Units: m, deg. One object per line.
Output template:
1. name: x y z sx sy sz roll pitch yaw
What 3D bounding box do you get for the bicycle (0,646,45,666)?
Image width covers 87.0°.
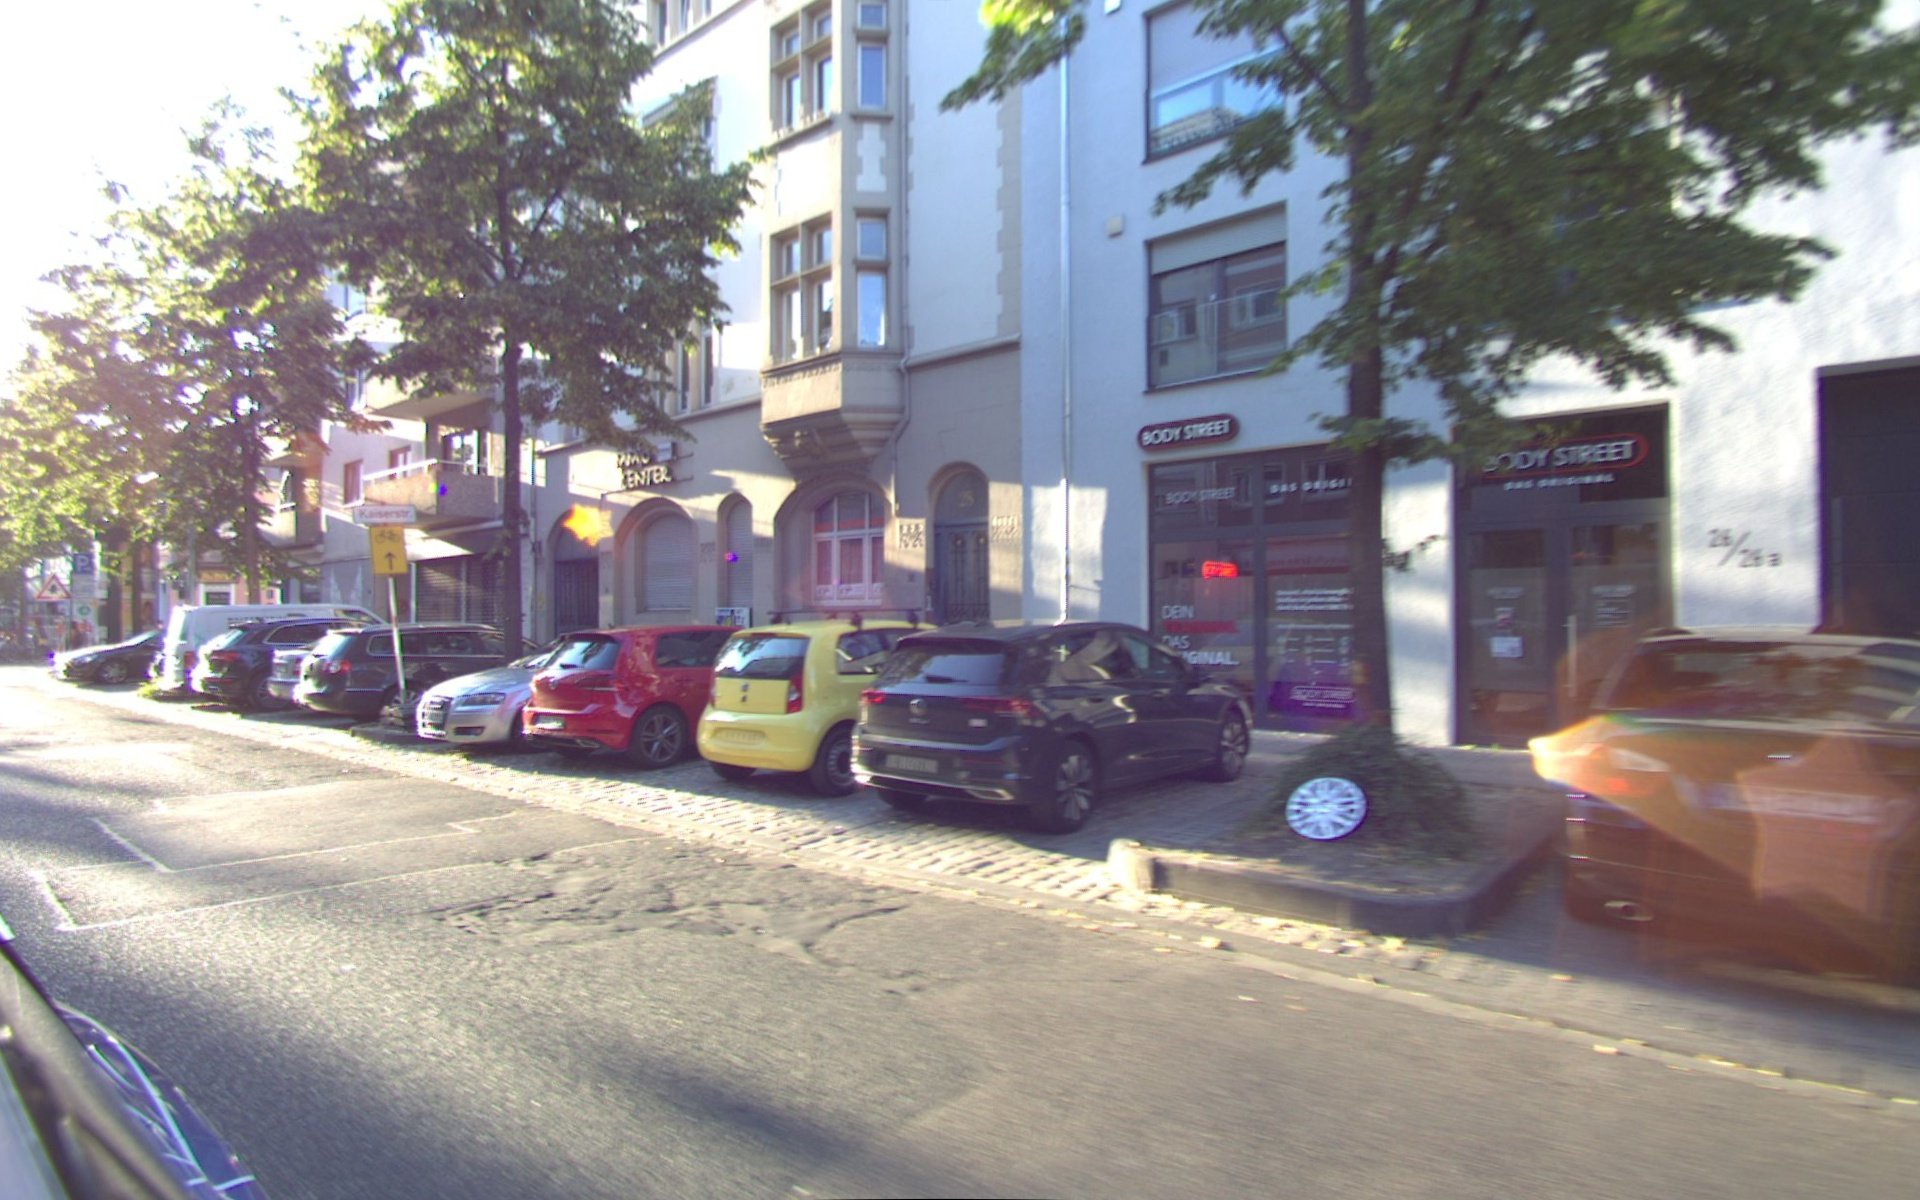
1. bicycle: -40.113 2.382 43.035 1.770 0.771 0.408 0 -2 -37

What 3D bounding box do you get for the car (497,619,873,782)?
1. car: -2.923 0.974 11.407 1.742 1.468 3.829 -1 -1 38

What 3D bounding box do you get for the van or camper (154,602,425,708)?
1. van or camper: -13.803 1.057 21.054 1.789 1.971 4.411 -2 -2 42

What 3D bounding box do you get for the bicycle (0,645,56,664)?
1. bicycle: -40.686 2.386 44.202 1.770 0.771 0.408 0 -2 -37

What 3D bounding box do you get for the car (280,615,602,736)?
1. car: -7.964 1.053 15.818 1.744 1.548 4.138 -1 0 42

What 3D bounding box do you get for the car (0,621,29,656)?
1. car: -53.218 2.124 54.487 1.813 1.857 4.384 -1 -1 39

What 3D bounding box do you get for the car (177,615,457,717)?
1. car: -11.961 1.135 19.031 1.732 1.681 4.138 -1 -1 42

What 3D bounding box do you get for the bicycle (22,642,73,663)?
1. bicycle: -41.427 2.366 45.965 0.441 0.870 1.790 -1 -1 16

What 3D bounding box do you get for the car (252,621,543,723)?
1. car: -9.742 1.155 17.795 1.731 1.453 4.141 -1 0 40

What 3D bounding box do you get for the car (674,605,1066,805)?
1. car: -0.705 0.854 10.039 1.742 1.579 3.829 -2 -1 38

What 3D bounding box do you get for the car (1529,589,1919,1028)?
1. car: 4.341 0.726 5.300 1.742 1.495 4.233 -2 -1 38

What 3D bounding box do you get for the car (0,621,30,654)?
1. car: -55.090 2.145 56.572 1.813 1.857 4.384 -1 -1 39

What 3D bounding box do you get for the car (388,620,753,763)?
1. car: -4.738 1.021 12.809 1.741 1.397 4.004 -2 -1 37

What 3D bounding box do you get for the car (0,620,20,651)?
1. car: -60.142 2.213 61.365 1.813 1.857 4.384 -1 -1 39

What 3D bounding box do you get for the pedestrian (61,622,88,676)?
1. pedestrian: -27.703 1.508 31.659 0.721 1.660 0.543 -2 -2 43

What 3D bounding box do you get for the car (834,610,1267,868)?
1. car: 0.944 0.888 8.310 1.742 1.579 3.829 -2 -1 38

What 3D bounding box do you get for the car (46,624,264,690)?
1. car: -21.858 1.484 27.622 1.813 1.536 4.384 -1 -1 39

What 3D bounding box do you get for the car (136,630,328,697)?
1. car: -17.471 1.479 24.390 1.512 1.424 3.535 -1 -1 42
